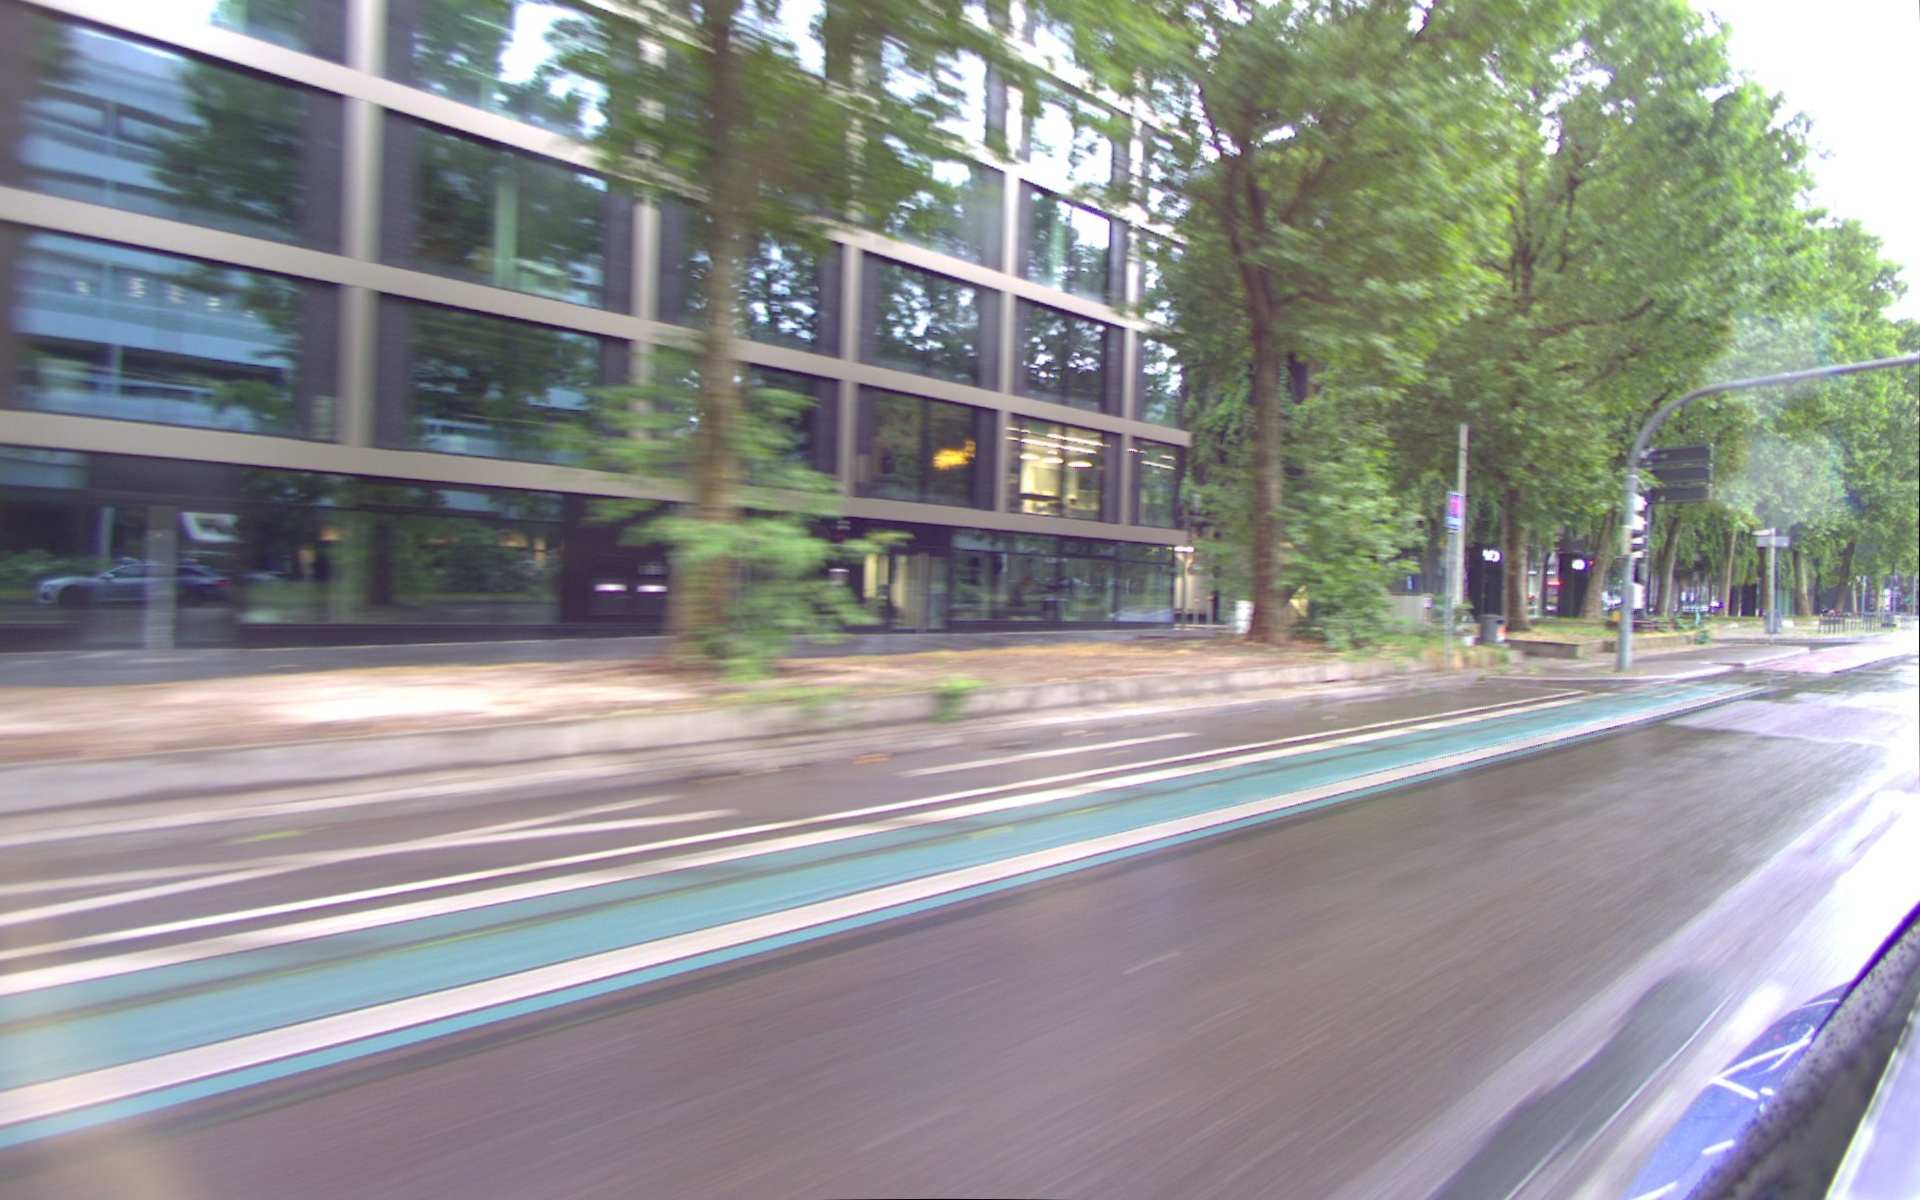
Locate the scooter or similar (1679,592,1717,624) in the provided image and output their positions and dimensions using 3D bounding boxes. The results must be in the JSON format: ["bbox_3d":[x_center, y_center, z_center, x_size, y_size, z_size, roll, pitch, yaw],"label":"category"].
[{"bbox_3d":[31.114,0.331,42.684,1.165,1.298,0.535,-1,0,9],"label":"scooter or similar"}]
